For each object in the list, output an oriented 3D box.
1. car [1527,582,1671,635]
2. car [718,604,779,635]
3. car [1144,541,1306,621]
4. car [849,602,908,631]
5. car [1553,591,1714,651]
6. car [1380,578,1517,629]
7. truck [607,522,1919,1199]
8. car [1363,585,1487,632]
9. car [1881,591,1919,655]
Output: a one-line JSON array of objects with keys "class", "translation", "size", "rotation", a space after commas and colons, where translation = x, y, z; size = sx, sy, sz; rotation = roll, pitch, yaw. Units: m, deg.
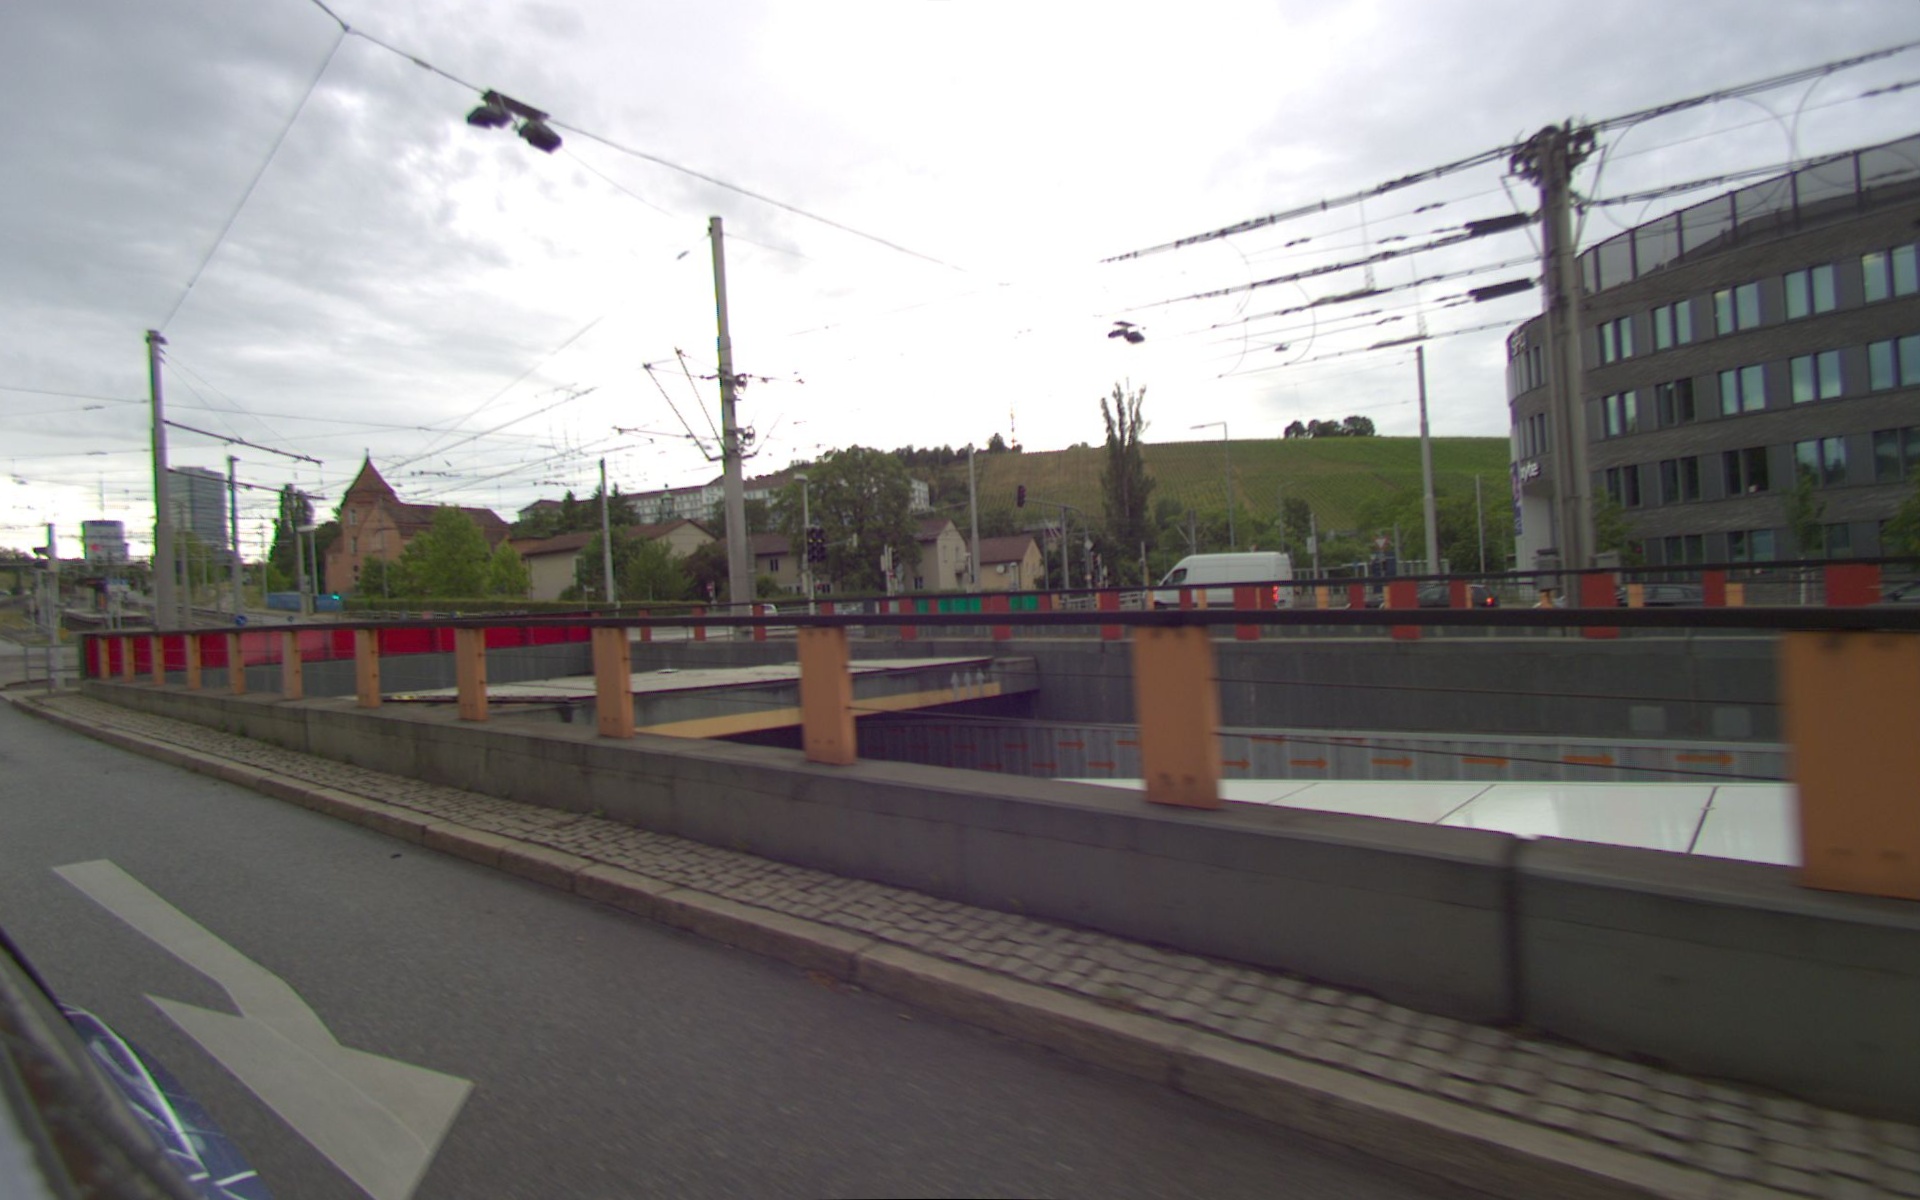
[{"class": "car", "translation": [21.293, 0.263, 33.799], "size": [3.829, 1.596, 1.807], "rotation": [0, 3, 41]}, {"class": "car", "translation": [-15.615, 1.423, 74.728], "size": [3.935, 2.028, 2.005], "rotation": [-2, 2, -37]}, {"class": "car", "translation": [10.103, -0.641, 38.948], "size": [5.712, 2.853, 1.974], "rotation": [-1, -1, 39]}, {"class": "car", "translation": [-6.047, 1.237, 75.393], "size": [3.936, 2.029, 2.004], "rotation": [1, 0, -39]}, {"class": "car", "translation": [20.215, 0.566, 30.434], "size": [3.829, 1.597, 1.806], "rotation": [2, 2, 41]}, {"class": "car", "translation": [16.501, 0.073, 34.248], "size": [3.829, 1.597, 1.806], "rotation": [2, 2, 41]}, {"class": "truck", "translation": [2.753, 1.929, 5.821], "size": [13.020, 4.229, 2.734], "rotation": [-3, -2, 40]}, {"class": "car", "translation": [17.157, 0.265, 37.447], "size": [3.829, 1.597, 1.806], "rotation": [2, 2, 41]}, {"class": "car", "translation": [26.120, 0.611, 25.798], "size": [3.829, 1.597, 1.806], "rotation": [2, 2, 41]}]
